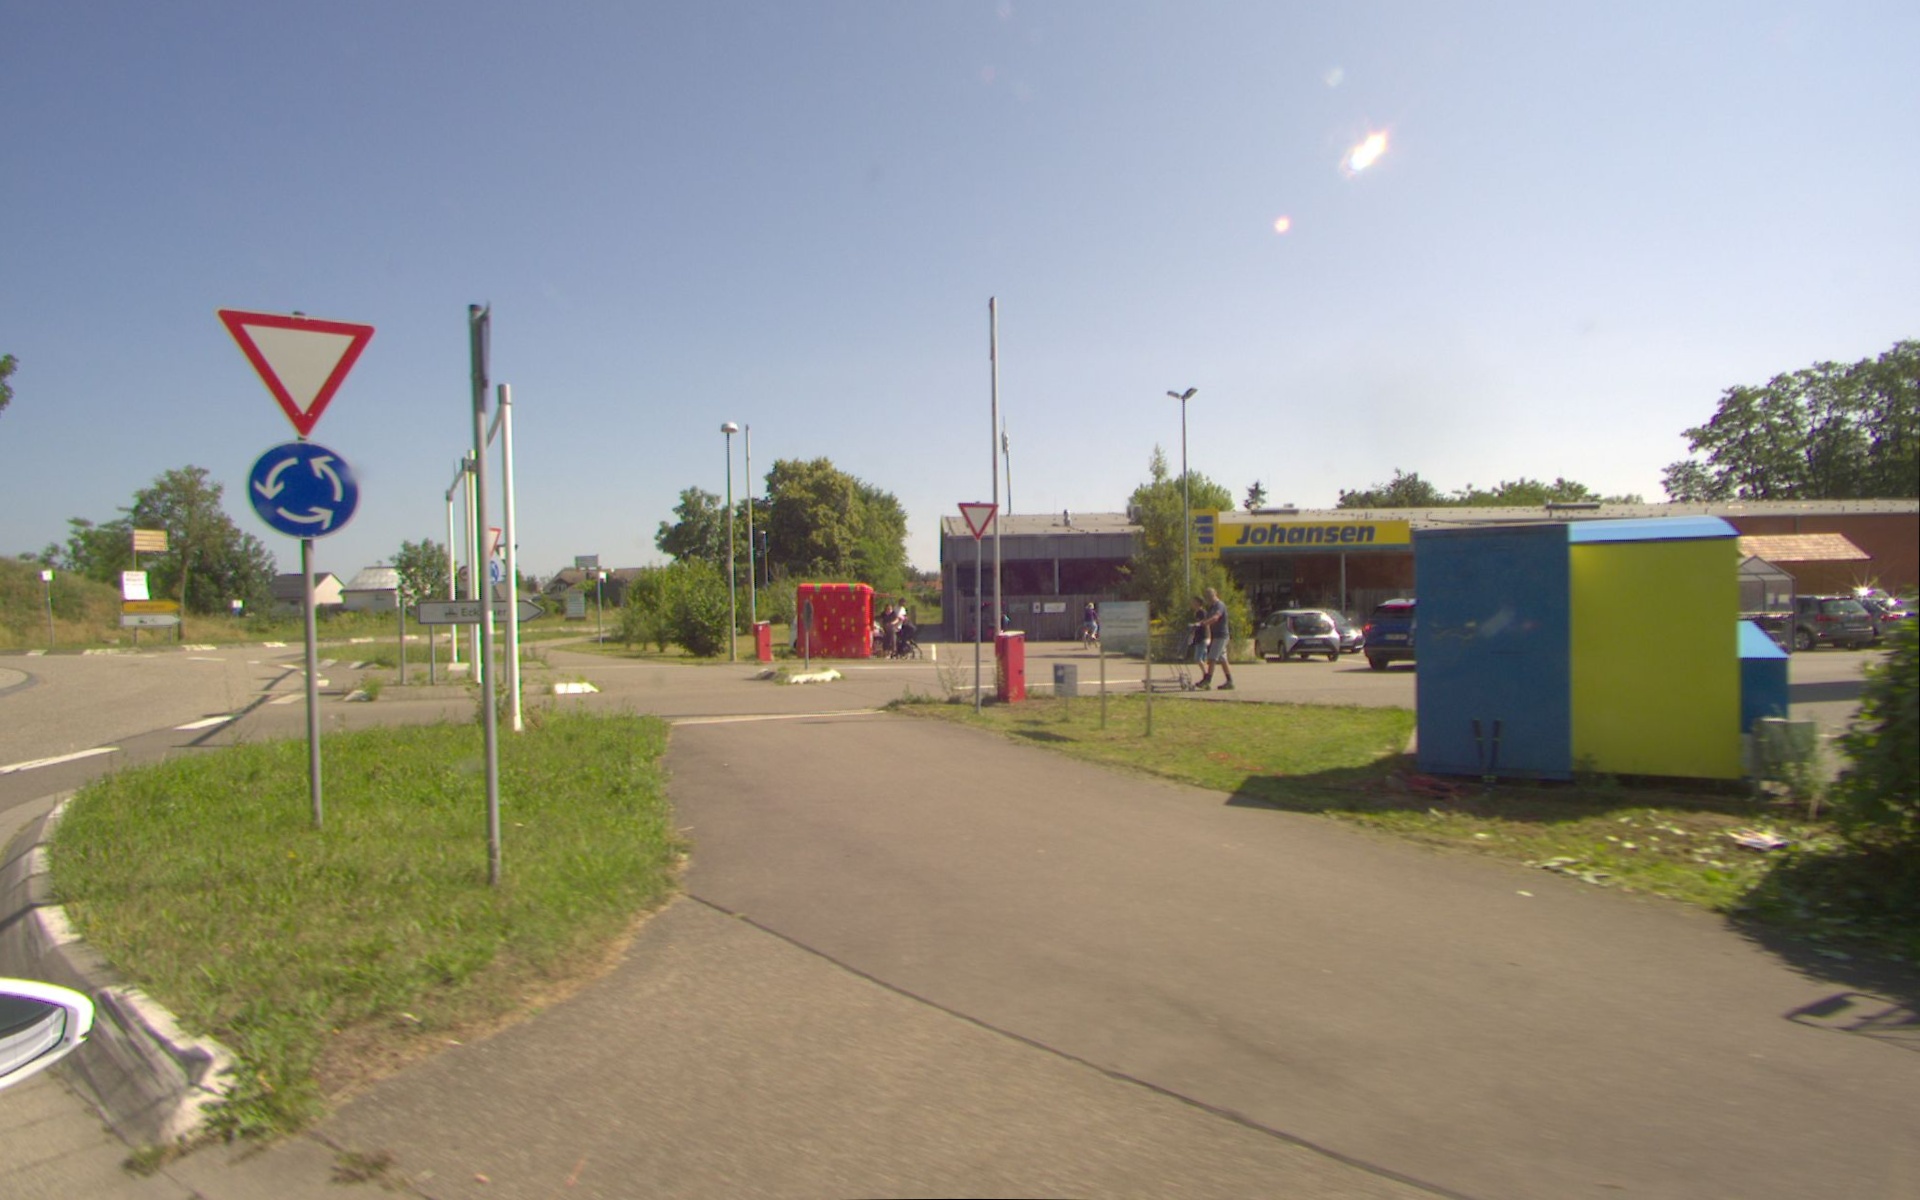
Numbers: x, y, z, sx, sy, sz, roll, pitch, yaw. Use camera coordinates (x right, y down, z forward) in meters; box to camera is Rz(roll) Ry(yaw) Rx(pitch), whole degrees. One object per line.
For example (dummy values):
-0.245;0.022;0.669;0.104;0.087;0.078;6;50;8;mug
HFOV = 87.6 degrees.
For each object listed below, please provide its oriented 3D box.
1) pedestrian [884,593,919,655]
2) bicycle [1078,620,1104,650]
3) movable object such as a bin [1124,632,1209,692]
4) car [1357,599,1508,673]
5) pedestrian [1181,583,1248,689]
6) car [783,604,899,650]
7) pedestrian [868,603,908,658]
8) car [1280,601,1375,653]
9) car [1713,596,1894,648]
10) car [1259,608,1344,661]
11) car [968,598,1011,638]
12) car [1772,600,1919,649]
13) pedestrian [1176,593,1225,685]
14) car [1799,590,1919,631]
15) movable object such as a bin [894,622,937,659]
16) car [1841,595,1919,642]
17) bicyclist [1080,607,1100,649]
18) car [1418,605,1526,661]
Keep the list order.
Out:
-1.809;0.738;31.118;0.827;1.896;0.771;0;1;27;pedestrian
4.887;1.279;37.241;0.544;1.056;2.072;0;0;19;bicycle
3.576;1.064;17.389;1.182;0.968;0.879;0;0;-13;movable object such as a bin
11.223;0.774;23.628;4.382;1.592;1.700;0;0;-42;car
4.458;0.621;17.579;0.827;1.809;0.879;0;1;-12;pedestrian
-3.998;0.901;34.022;3.698;1.465;1.725;1;1;2;car
-2.162;0.899;30.159;0.913;1.640;0.810;0;1;31;pedestrian
12.511;0.882;34.349;1.875;1.644;4.000;0;0;1;car
24.751;0.629;29.596;1.944;1.439;4.000;0;0;-1;car
10.048;0.977;29.695;1.683;1.477;3.492;0;0;6;car
1.239;0.770;42.637;1.793;1.657;1.131;0;0;0;car
27.272;0.704;30.359;1.961;1.394;4.000;0;0;-3;car
4.468;0.711;18.614;0.586;1.670;0.702;-1;1;-21;pedestrian
42.131;0.501;47.015;1.961;1.840;3.999;0;0;-4;car
-1.324;1.200;29.644;1.025;1.060;0.765;0;0;31;movable object such as a bin
29.636;0.551;30.698;1.682;1.416;4.000;0;0;-1;car
4.821;1.014;37.061;0.596;1.535;0.676;0;1;19;bicyclist
14.895;0.924;29.335;1.683;1.517;3.492;0;0;6;car
